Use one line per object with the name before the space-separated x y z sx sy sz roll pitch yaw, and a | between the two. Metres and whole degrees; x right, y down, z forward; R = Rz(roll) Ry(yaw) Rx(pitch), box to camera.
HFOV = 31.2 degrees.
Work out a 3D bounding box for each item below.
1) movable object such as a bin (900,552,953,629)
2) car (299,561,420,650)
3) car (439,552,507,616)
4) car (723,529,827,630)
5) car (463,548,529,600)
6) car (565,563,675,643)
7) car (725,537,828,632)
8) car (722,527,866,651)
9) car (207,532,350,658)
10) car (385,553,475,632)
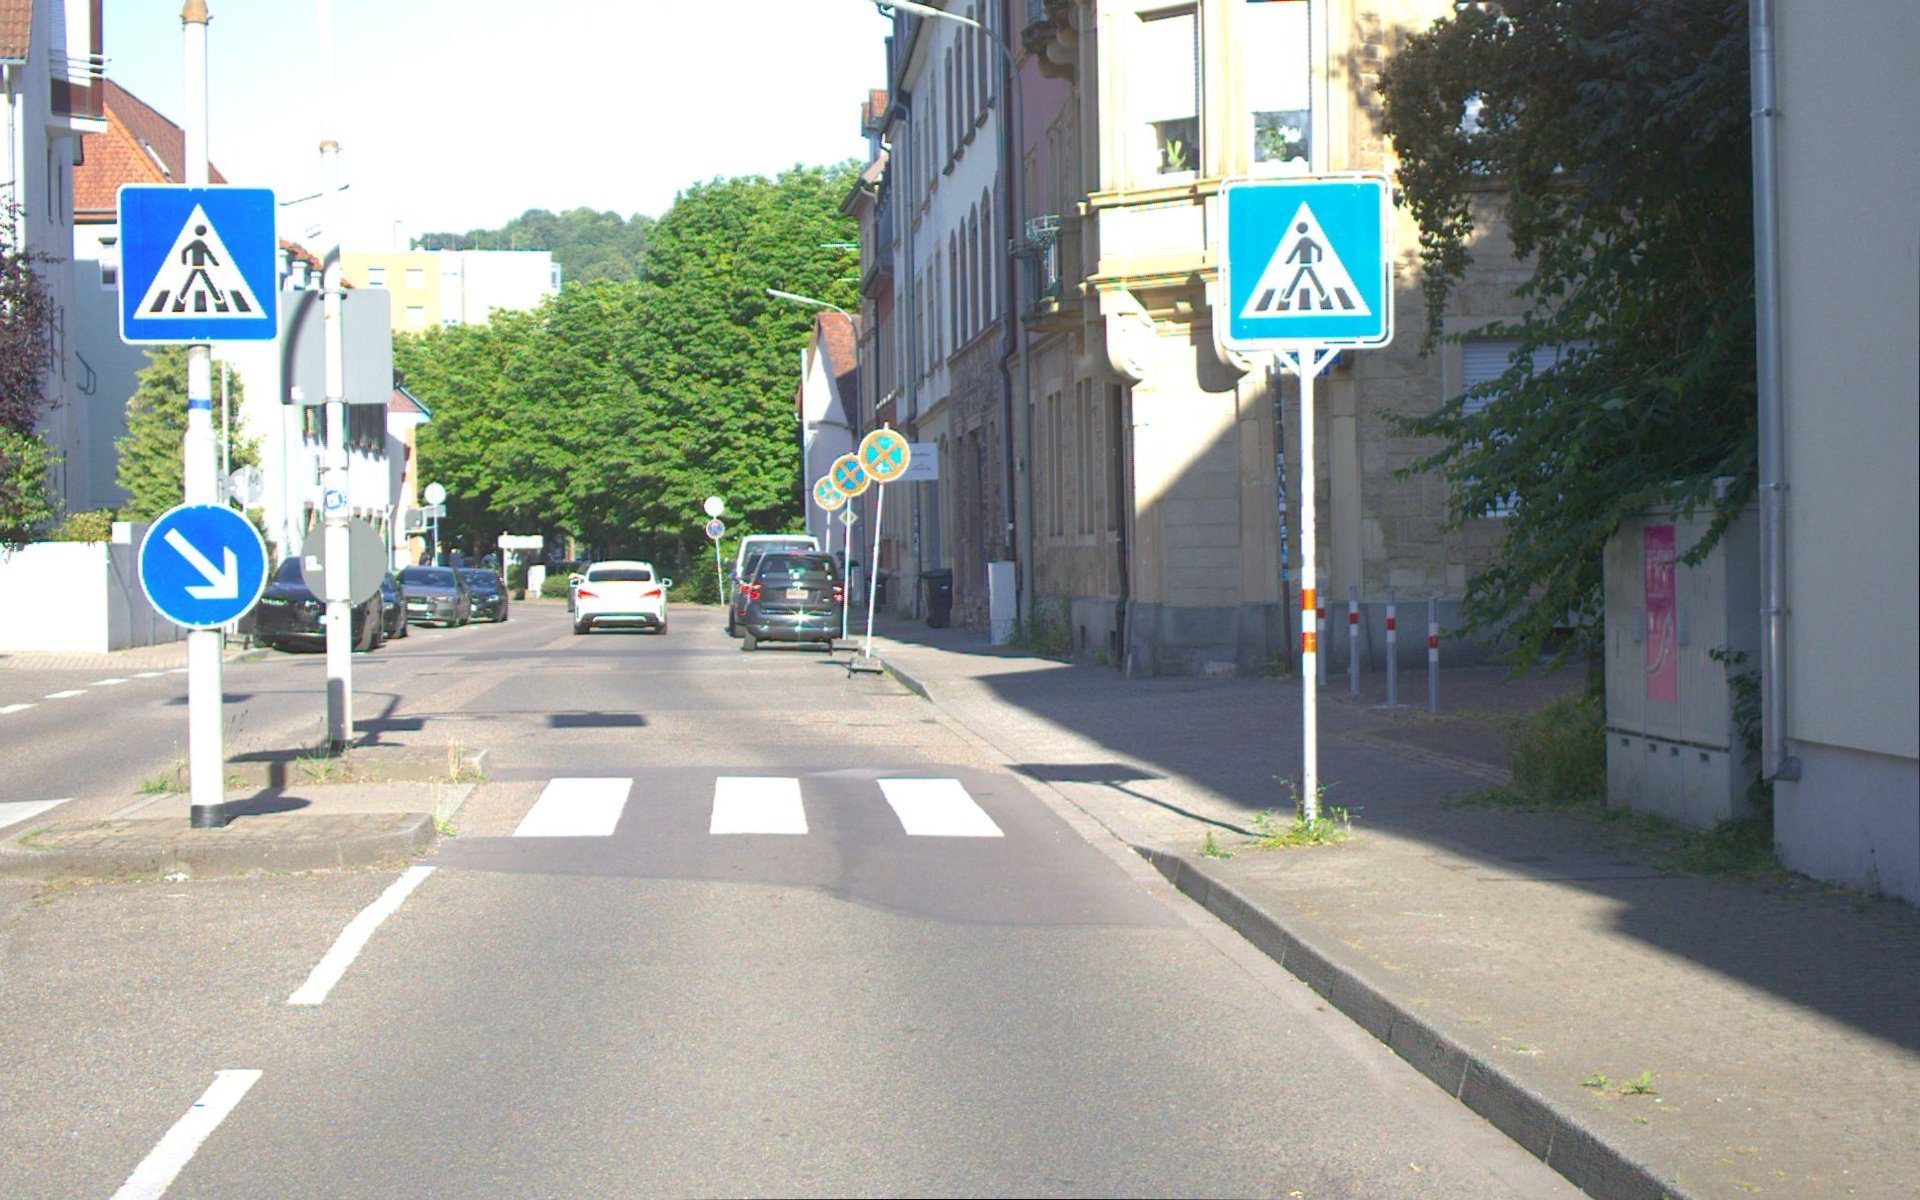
movable object such as a bin | -0.625 -0.179 64.365 0.871 1.373 0.685 -3 2 -6
car | -12.183 0.082 69.940 2.092 1.625 3.823 -2 2 -6
car | -13.178 -0.447 93.192 1.630 1.625 3.175 -2 2 -6
car | -3.781 -0.440 69.598 1.840 1.899 4.001 -2 2 -6
car | -18.253 -1.032 135.164 1.993 2.007 4.001 -1 1 -16
car | -6.661 0.034 67.064 1.993 1.461 4.001 -1 1 -7
car | -3.426 -0.323 64.614 1.818 1.625 4.001 -2 2 -2
car | -2.612 -0.207 53.353 2.010 1.846 4.001 0 1 -6
car | -11.319 -0.116 57.296 1.993 2.007 4.001 -1 1 -7
car | -12.969 -0.213 84.272 1.910 1.754 4.129 -2 2 -6
